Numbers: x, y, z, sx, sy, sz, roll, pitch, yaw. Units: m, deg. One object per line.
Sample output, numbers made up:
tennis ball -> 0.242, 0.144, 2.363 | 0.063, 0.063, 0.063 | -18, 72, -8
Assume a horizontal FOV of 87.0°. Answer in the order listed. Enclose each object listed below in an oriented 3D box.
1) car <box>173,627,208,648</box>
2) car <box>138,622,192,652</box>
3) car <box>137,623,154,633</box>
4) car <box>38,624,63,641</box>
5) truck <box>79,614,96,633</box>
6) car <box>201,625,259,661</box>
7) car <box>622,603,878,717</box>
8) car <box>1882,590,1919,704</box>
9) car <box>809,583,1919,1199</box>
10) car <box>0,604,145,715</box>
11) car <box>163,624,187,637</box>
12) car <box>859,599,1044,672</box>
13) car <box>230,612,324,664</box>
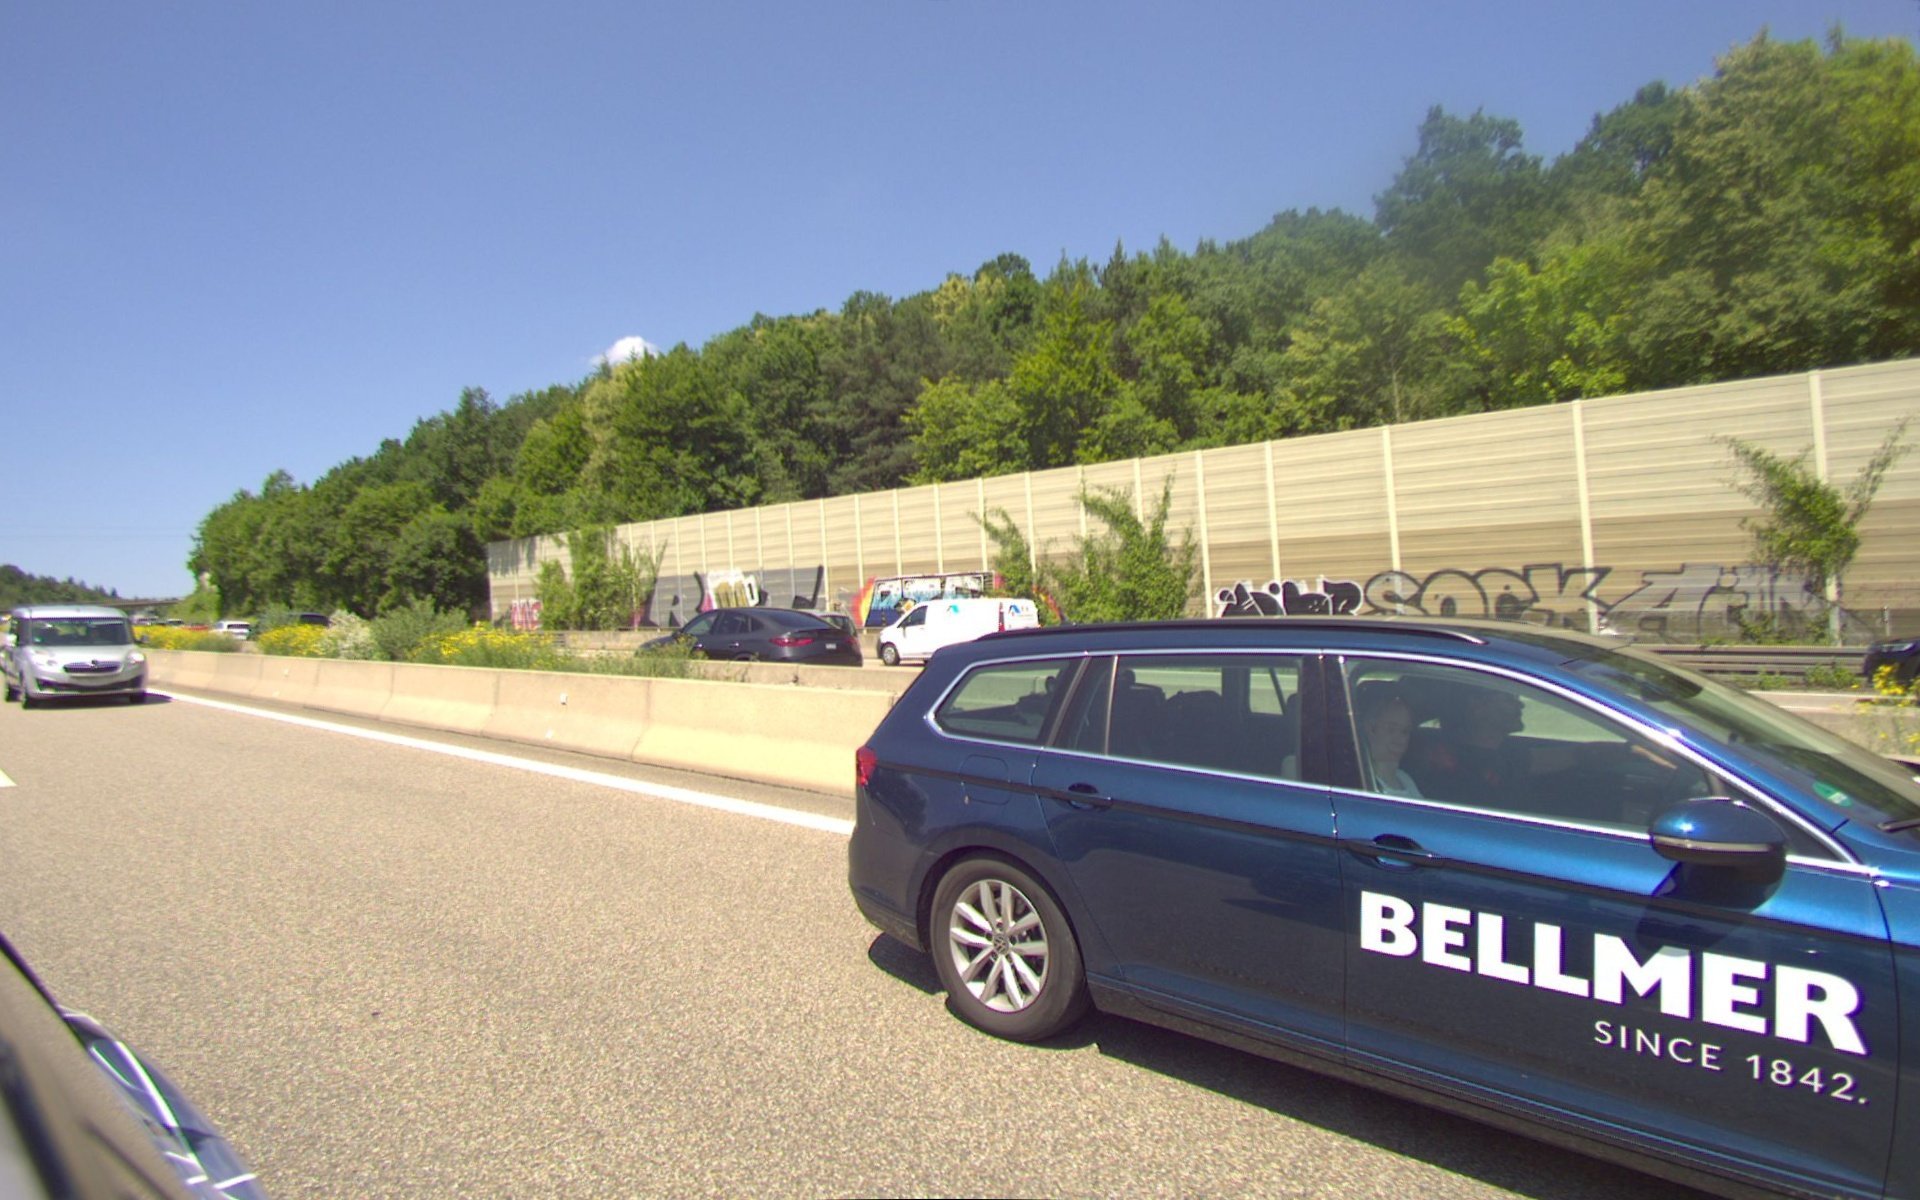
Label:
car -> -65.384, 3.164, 85.991 | 4.189, 1.652, 1.720 | -1, -1, 44
car -> -42.066, 1.945, 53.527 | 3.752, 1.478, 1.599 | -2, -2, 42
car -> -141.947, 4.836, 176.338 | 4.001, 1.647, 1.708 | -2, -1, 44
car -> -93.167, 3.351, 103.677 | 3.712, 1.663, 1.625 | -2, -1, 43
truck -> -165.782, 4.519, 192.290 | 6.027, 3.533, 1.971 | -2, -1, 44
car -> -41.574, 2.399, 57.612 | 4.503, 1.936, 1.719 | -1, -1, 42
car -> -3.617, 0.913, 16.888 | 4.601, 1.653, 1.791 | -2, -1, 41
car -> 15.769, 0.645, 14.203 | 4.097, 1.653, 1.791 | -2, -1, 41
car -> 1.734, 0.691, 3.062 | 4.728, 1.438, 1.714 | -1, 0, 42
car -> -16.737, 1.045, 18.986 | 4.001, 1.858, 1.756 | -2, -2, 44
car -> -91.896, 3.602, 118.389 | 4.313, 1.493, 1.612 | -2, -2, 44
car -> -0.330, 0.943, 28.396 | 5.301, 1.881, 1.901 | -1, -1, 41
car -> -24.069, 1.319, 35.610 | 4.657, 1.711, 1.666 | -2, -2, 42
